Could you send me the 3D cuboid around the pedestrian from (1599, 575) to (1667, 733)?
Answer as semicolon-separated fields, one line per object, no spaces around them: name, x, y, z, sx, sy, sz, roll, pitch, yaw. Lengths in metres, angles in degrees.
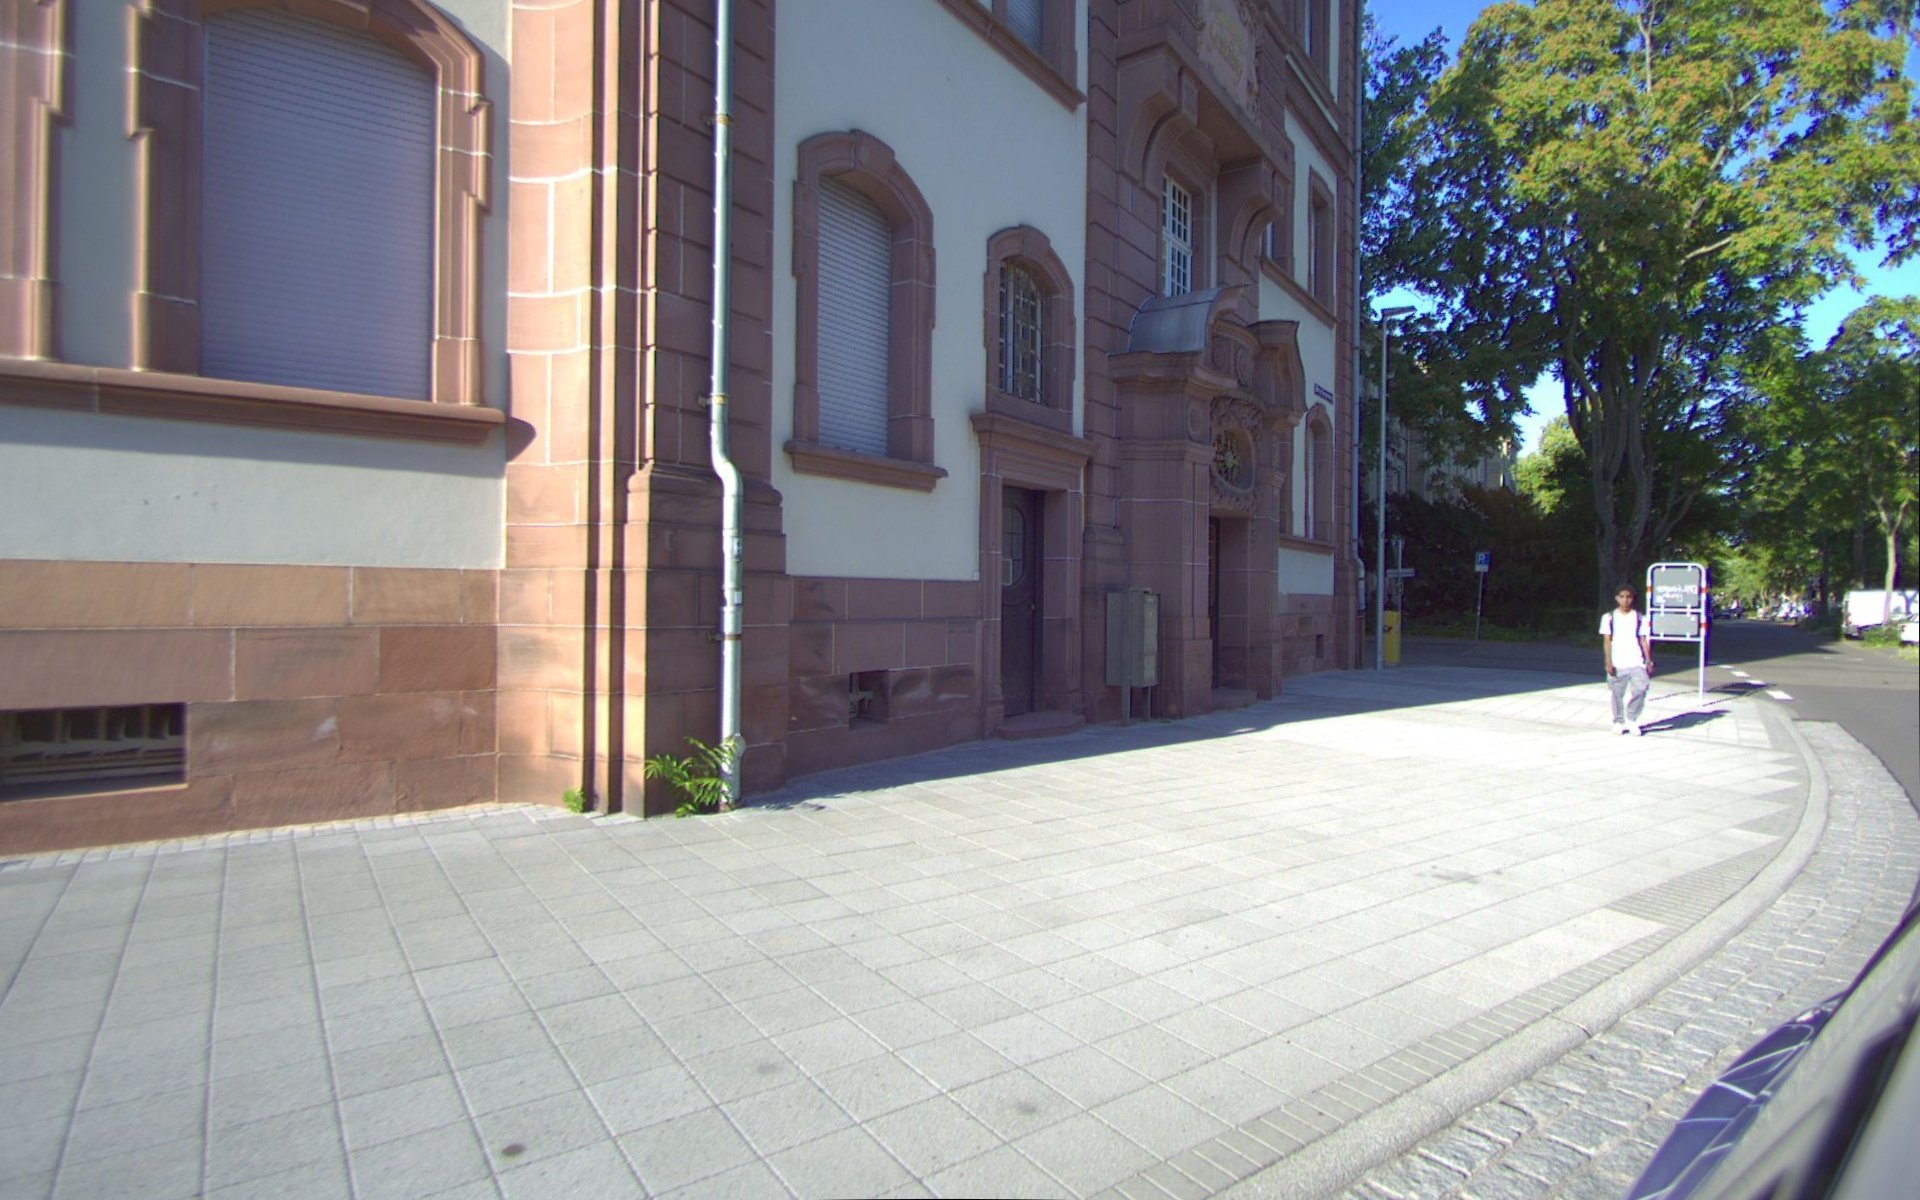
pedestrian;7.836;0.593;11.767;0.531;1.740;0.989;3;2;37

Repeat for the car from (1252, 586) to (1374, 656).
car;9.194;0.580;26.118;1.952;1.610;4.665;1;-2;33

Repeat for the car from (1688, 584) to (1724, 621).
car;55.352;0.197;75.053;1.943;2.632;4.106;1;0;39

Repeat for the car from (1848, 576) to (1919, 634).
car;46.809;0.239;48.722;5.872;2.734;2.193;1;0;35

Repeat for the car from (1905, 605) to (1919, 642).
car;39.581;0.934;39.242;4.033;1.438;1.697;1;0;35
